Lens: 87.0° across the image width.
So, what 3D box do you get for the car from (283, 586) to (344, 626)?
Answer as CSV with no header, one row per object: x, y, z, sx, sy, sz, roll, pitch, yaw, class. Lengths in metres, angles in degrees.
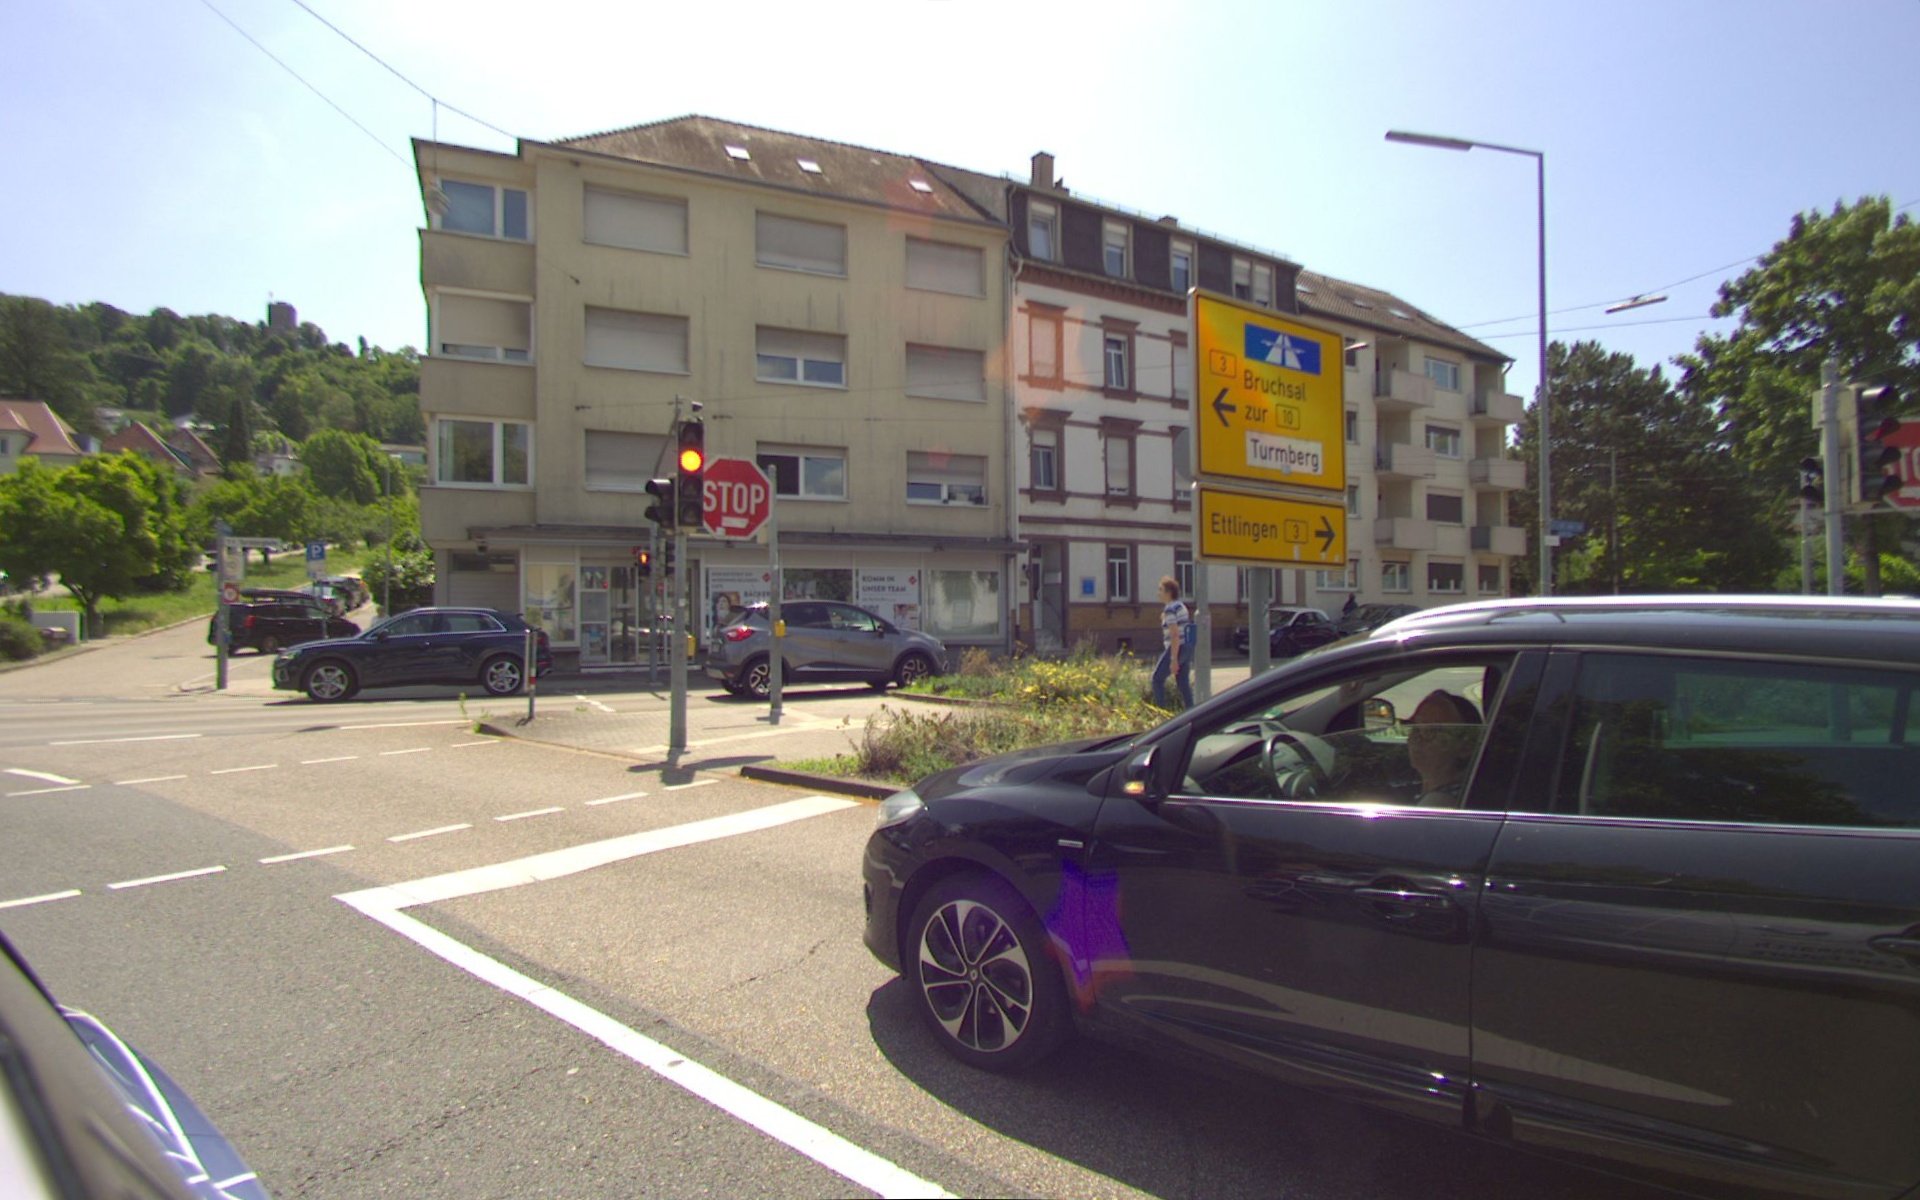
-29.019,0.244,45.517,1.778,1.562,4.014,0,3,-25,car

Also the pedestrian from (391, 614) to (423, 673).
-14.191,1.096,25.991,0.637,1.487,0.690,0,-1,-21,pedestrian

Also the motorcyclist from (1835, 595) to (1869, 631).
36.587,0.549,41.511,1.001,1.456,0.715,0,-1,-28,motorcyclist

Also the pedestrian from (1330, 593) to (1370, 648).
14.155,0.733,36.768,0.960,1.946,0.940,0,-1,-34,pedestrian

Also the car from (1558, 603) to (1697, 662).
19.112,0.867,28.954,3.968,1.569,1.810,0,0,-31,car

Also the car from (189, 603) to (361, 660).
-21.661,0.979,32.232,1.982,1.676,4.307,-1,-1,16,car

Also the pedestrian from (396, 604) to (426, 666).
-15.018,0.951,27.682,0.637,1.645,0.690,0,-1,-21,pedestrian

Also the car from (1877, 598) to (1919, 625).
59.329,0.677,63.172,3.968,1.569,1.811,0,2,-29,car

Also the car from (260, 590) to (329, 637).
-26.793,0.507,40.865,1.778,1.628,4.014,0,3,-25,car

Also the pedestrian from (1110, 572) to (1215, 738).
2.208,0.576,11.034,0.838,1.718,0.752,-1,-1,41,pedestrian

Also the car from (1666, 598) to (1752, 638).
35.136,0.811,47.450,3.968,1.730,1.810,0,2,-31,car

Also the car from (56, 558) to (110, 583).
-55.569,-1.907,64.188,1.728,1.458,3.752,-1,3,-28,car

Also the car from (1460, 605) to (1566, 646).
21.343,0.969,39.023,3.933,1.521,2.005,0,-1,-35,car

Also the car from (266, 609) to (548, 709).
-9.677,1.008,18.061,4.211,1.570,1.864,0,-3,-25,car

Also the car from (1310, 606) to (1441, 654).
13.978,0.986,33.997,4.308,1.521,2.005,0,-1,-33,car

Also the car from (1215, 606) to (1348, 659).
10.078,0.987,31.657,3.934,1.530,2.005,1,-1,-35,car

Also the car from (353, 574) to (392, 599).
-37.152,-0.876,64.075,1.826,1.431,4.014,0,3,-25,car

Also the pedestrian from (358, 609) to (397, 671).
-15.820,1.072,27.515,0.808,1.645,0.807,0,-1,-21,pedestrian

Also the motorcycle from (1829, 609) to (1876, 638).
36.610,0.964,41.509,2.159,1.142,0.715,0,-1,-28,motorcycle

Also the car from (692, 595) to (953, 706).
-2.280,0.767,16.873,3.931,1.644,1.765,0,0,-27,car

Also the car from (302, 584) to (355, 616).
-31.206,-0.018,50.103,1.778,1.398,4.014,0,3,-25,car

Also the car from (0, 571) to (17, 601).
-50.041,-0.700,51.742,1.728,1.458,3.752,-1,3,-28,car

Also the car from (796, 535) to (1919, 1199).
1.713,0.663,2.936,4.423,1.511,1.973,-1,-1,41,car

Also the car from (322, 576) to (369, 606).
-33.672,-0.521,55.542,1.778,1.431,4.014,0,3,-25,car

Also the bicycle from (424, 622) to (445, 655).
-17.266,1.266,33.264,0.490,1.034,1.749,0,-1,-23,bicycle
